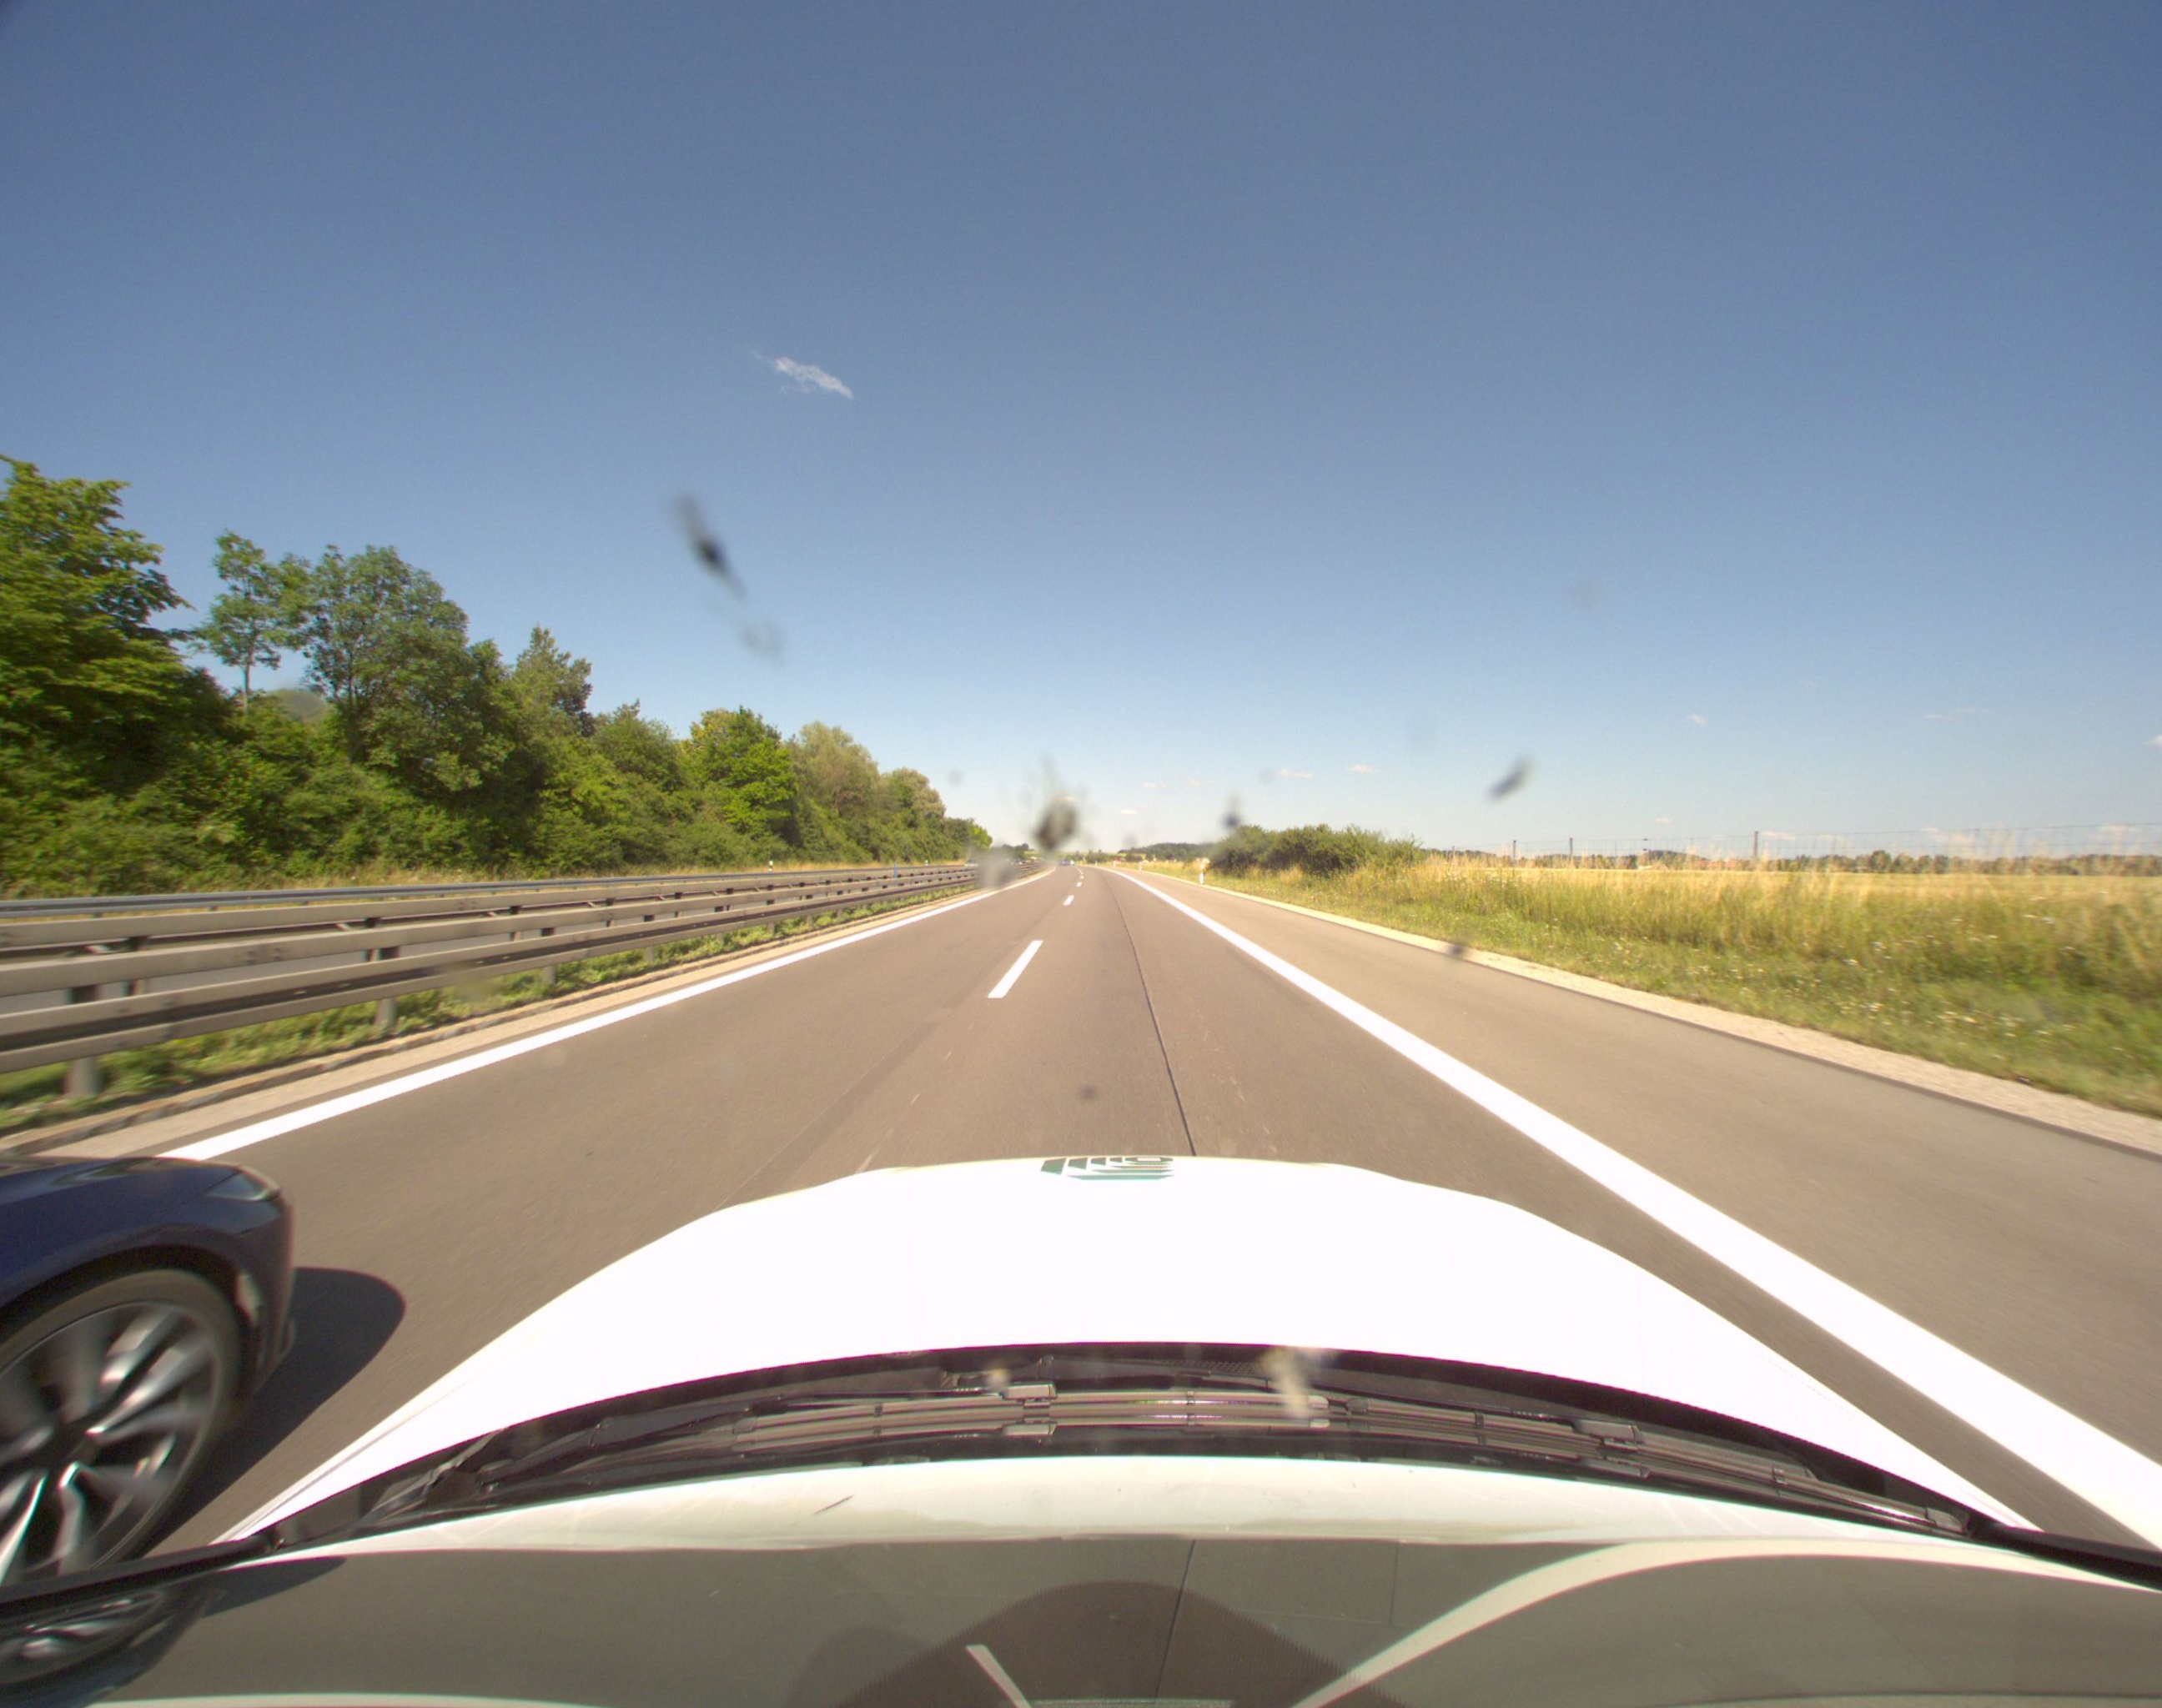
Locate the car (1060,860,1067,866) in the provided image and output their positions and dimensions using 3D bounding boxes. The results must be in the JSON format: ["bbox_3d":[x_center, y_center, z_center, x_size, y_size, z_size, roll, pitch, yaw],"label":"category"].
[{"bbox_3d":[-4.181,2.205,194.335,1.671,1.453,3.589,0,-1,-1],"label":"car"}]

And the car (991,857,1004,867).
[{"bbox_3d":[-13.899,1.320,135.338,1.644,1.493,4.538,0,0,0],"label":"car"}]

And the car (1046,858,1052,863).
[{"bbox_3d":[-10.230,2.179,262.496,1.823,1.453,3.592,0,-1,0],"label":"car"}]

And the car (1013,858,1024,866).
[{"bbox_3d":[-10.947,1.372,143.022,1.644,1.493,4.538,0,0,0],"label":"car"}]

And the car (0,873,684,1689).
[{"bbox_3d":[-2.904,0.805,0.949,1.840,1.433,5.868,-1,0,2],"label":"car"}]

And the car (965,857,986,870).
[{"bbox_3d":[-13.118,1.201,101.314,1.986,1.612,4.637,0,0,1],"label":"car"}]

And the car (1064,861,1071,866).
[{"bbox_3d":[-3.554,2.557,216.706,1.673,1.453,3.586,0,-1,-5],"label":"car"}]
